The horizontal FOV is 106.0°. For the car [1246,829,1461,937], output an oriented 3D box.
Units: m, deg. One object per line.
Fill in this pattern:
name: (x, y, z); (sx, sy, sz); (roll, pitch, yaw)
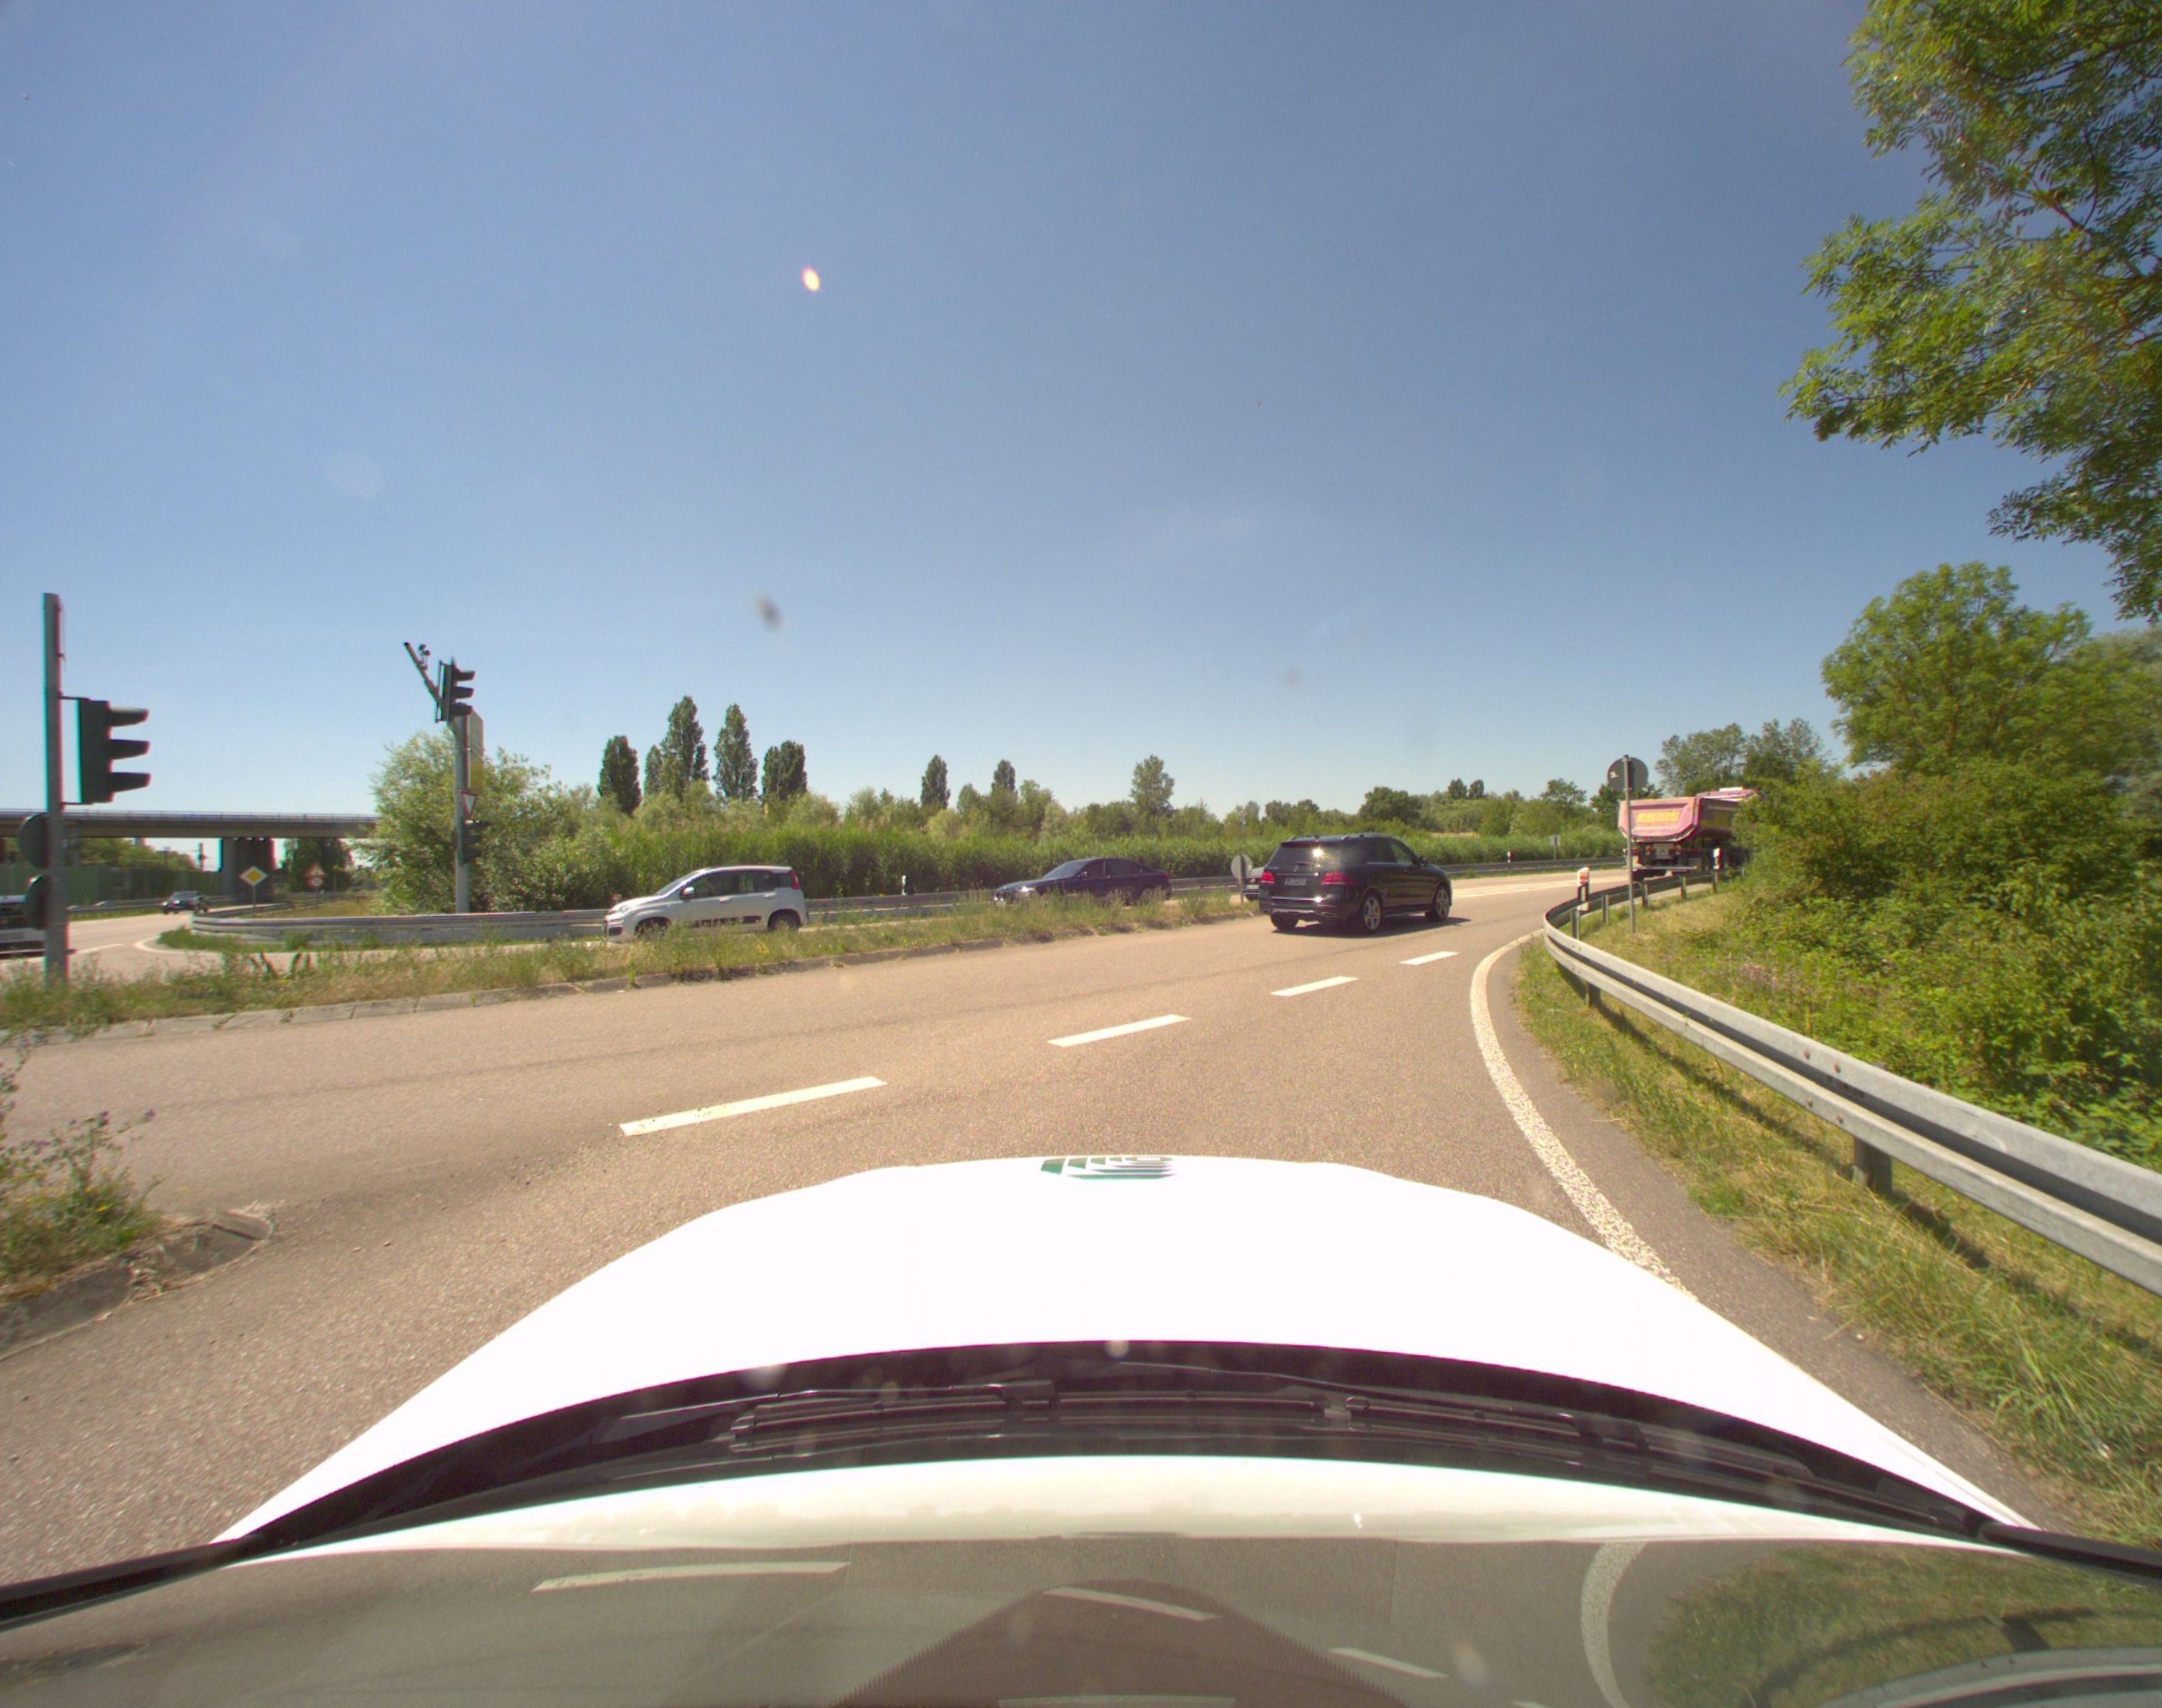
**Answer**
car: (5.332, 0.463, 15.600); (4.623, 1.768, 1.910); (-1, 0, -43)

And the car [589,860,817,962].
car: (-7.309, 1.015, 15.877); (3.735, 1.631, 1.715); (-2, 0, -36)

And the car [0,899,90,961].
car: (-27.741, 1.963, 21.413); (4.349, 1.398, 2.013); (-3, 0, 41)

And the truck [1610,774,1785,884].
truck: (25.453, -1.020, 33.229); (11.945, 3.821, 2.810); (-2, 0, -39)

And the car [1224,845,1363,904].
car: (6.757, 0.605, 25.727); (4.256, 1.631, 1.913); (-2, 0, -35)

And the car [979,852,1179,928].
car: (0.024, 0.867, 21.237); (4.961, 1.631, 1.913); (-2, 0, -34)

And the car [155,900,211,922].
car: (-67.660, 4.247, 61.417); (2.009, 1.398, 4.357); (-2, 0, -37)
